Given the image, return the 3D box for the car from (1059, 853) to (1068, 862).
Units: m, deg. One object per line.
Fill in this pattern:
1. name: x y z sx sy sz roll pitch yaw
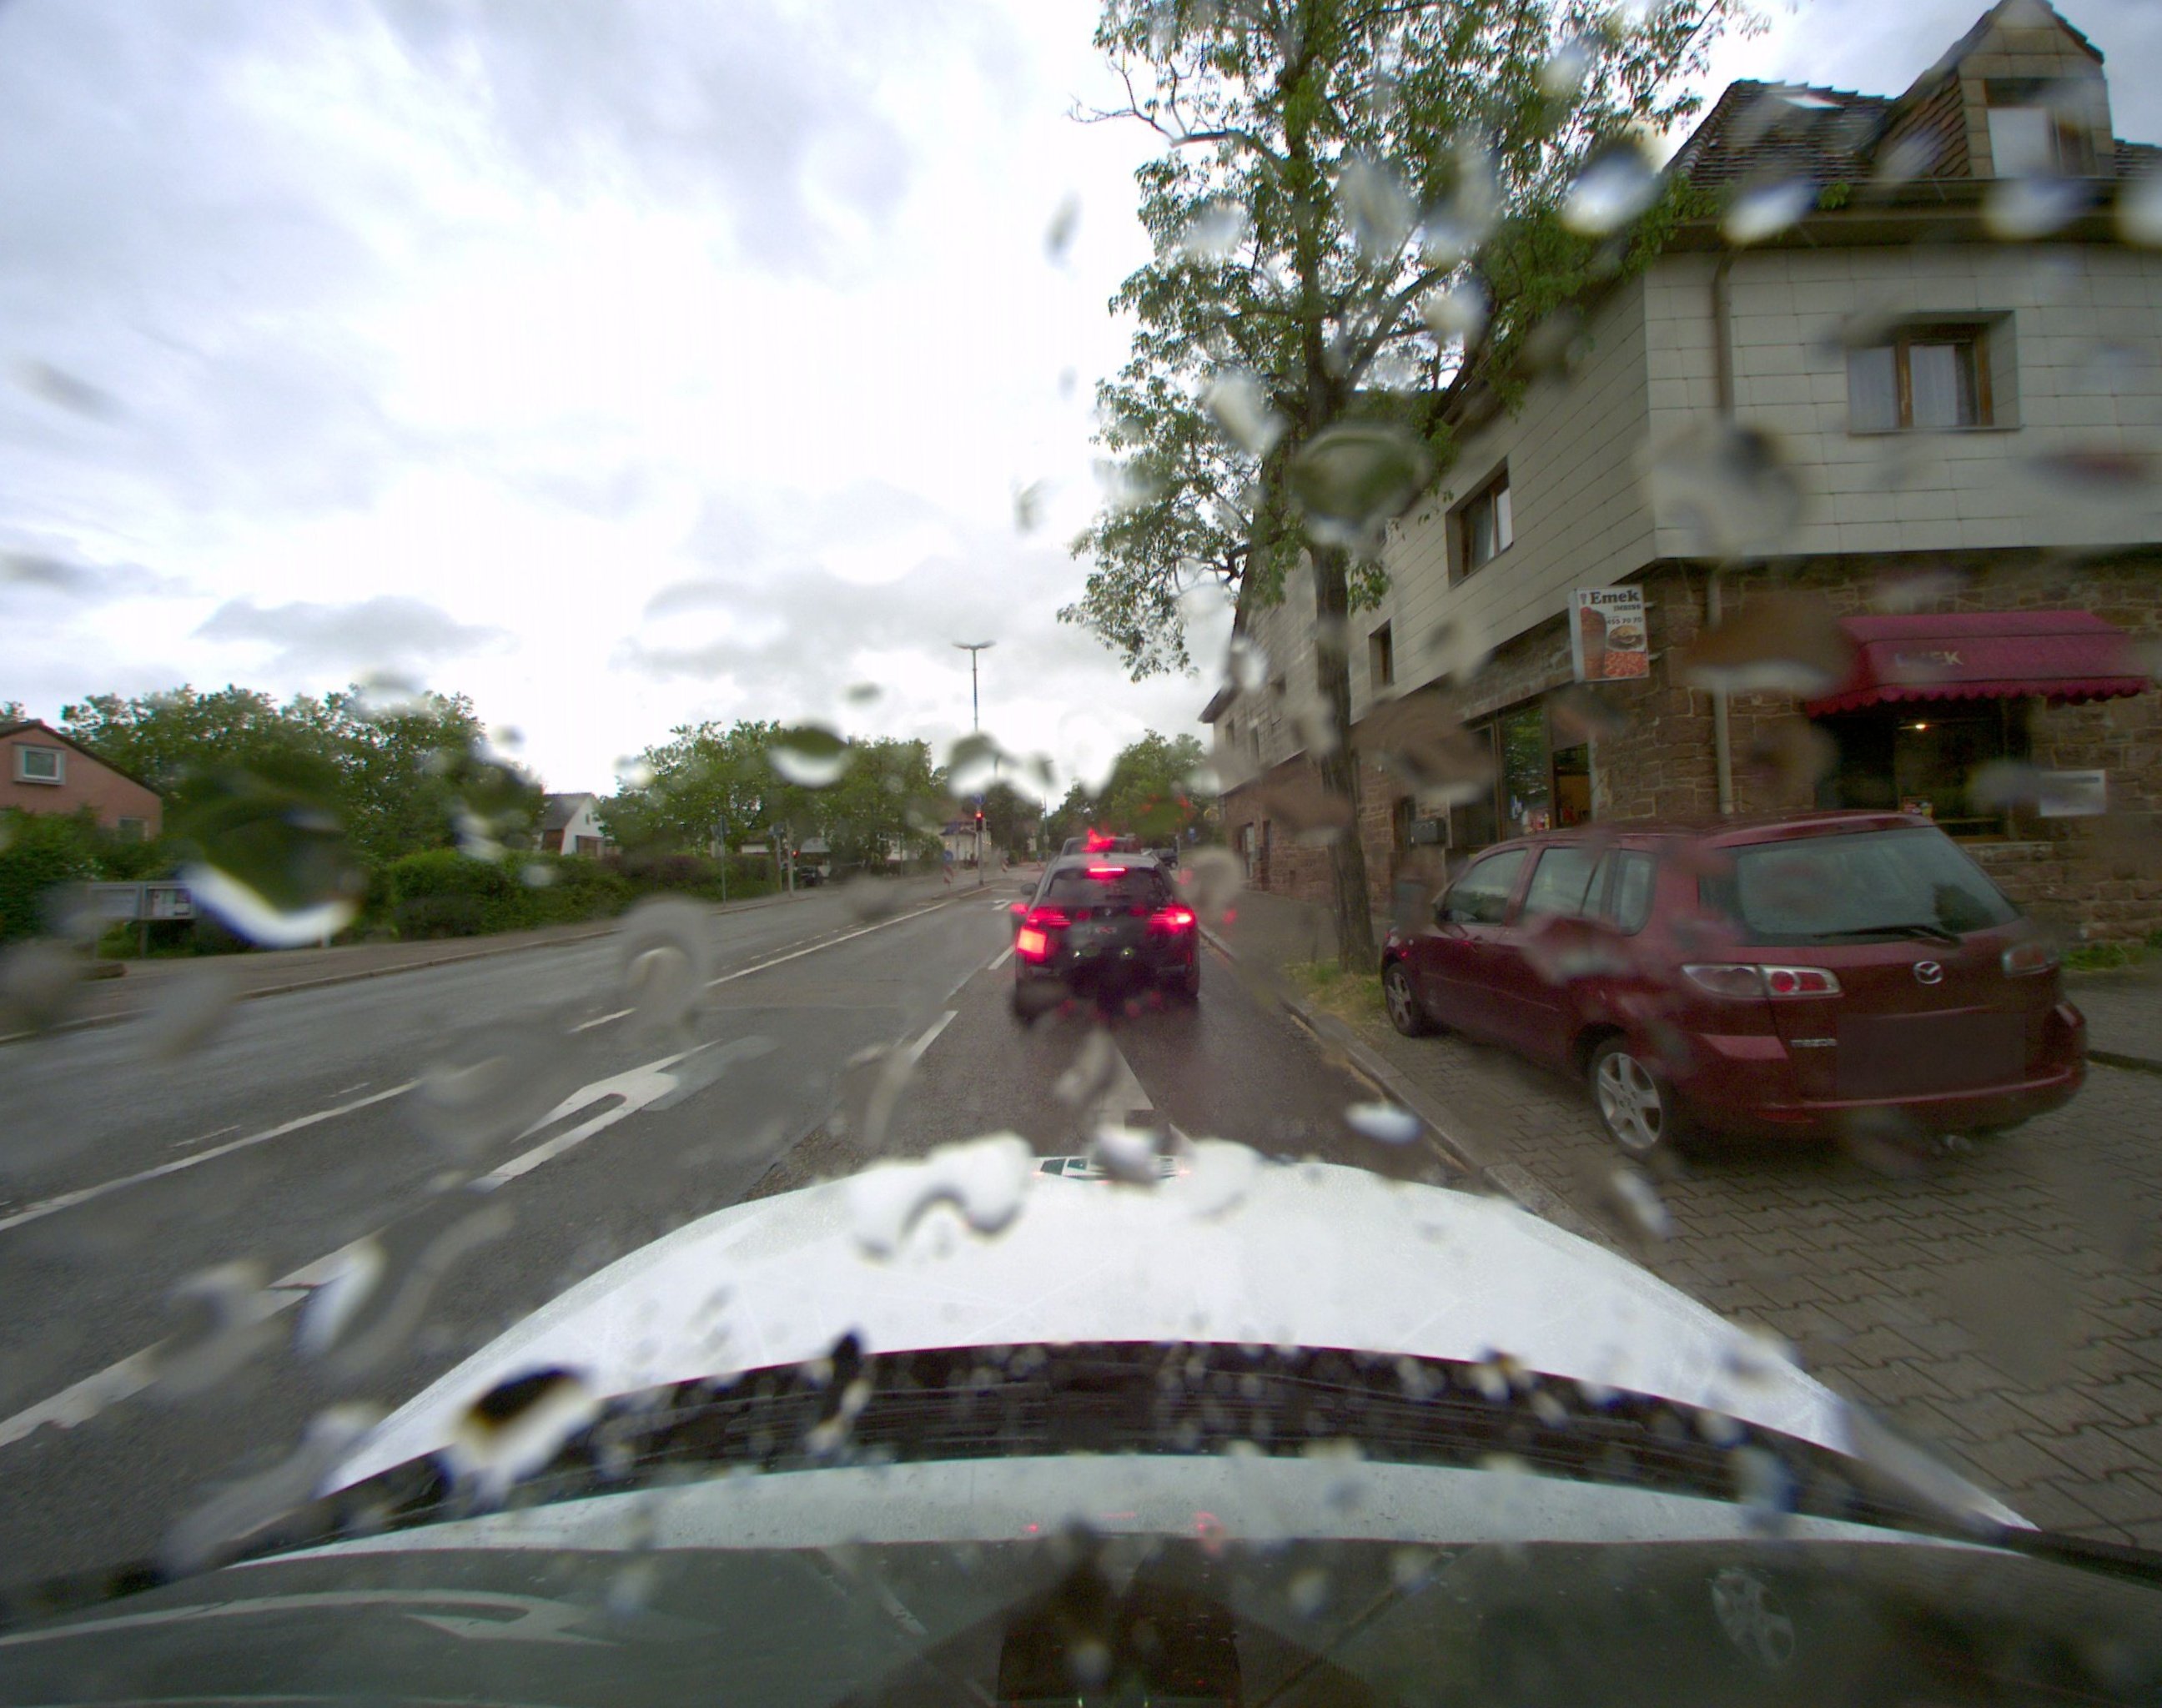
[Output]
1. car: -2.998 0.596 140.777 1.459 1.398 3.322 -1 0 1

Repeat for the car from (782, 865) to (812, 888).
1. car: -20.983 1.629 60.180 2.000 1.552 3.973 -2 0 -20

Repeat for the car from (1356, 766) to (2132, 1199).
1. car: 3.110 0.456 4.864 1.579 1.490 3.626 -5 1 -1

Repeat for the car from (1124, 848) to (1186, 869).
1. car: 5.888 0.358 64.856 4.479 1.587 2.059 -1 0 -17

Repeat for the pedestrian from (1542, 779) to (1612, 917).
1. pedestrian: 6.811 -0.080 11.199 0.635 1.839 0.483 -1 0 1

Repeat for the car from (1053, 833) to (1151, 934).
1. car: 0.386 0.530 17.081 1.778 1.817 3.999 -1 0 0

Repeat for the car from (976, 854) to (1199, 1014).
1. car: 0.044 0.742 9.807 2.058 1.446 4.481 -1 0 -1
